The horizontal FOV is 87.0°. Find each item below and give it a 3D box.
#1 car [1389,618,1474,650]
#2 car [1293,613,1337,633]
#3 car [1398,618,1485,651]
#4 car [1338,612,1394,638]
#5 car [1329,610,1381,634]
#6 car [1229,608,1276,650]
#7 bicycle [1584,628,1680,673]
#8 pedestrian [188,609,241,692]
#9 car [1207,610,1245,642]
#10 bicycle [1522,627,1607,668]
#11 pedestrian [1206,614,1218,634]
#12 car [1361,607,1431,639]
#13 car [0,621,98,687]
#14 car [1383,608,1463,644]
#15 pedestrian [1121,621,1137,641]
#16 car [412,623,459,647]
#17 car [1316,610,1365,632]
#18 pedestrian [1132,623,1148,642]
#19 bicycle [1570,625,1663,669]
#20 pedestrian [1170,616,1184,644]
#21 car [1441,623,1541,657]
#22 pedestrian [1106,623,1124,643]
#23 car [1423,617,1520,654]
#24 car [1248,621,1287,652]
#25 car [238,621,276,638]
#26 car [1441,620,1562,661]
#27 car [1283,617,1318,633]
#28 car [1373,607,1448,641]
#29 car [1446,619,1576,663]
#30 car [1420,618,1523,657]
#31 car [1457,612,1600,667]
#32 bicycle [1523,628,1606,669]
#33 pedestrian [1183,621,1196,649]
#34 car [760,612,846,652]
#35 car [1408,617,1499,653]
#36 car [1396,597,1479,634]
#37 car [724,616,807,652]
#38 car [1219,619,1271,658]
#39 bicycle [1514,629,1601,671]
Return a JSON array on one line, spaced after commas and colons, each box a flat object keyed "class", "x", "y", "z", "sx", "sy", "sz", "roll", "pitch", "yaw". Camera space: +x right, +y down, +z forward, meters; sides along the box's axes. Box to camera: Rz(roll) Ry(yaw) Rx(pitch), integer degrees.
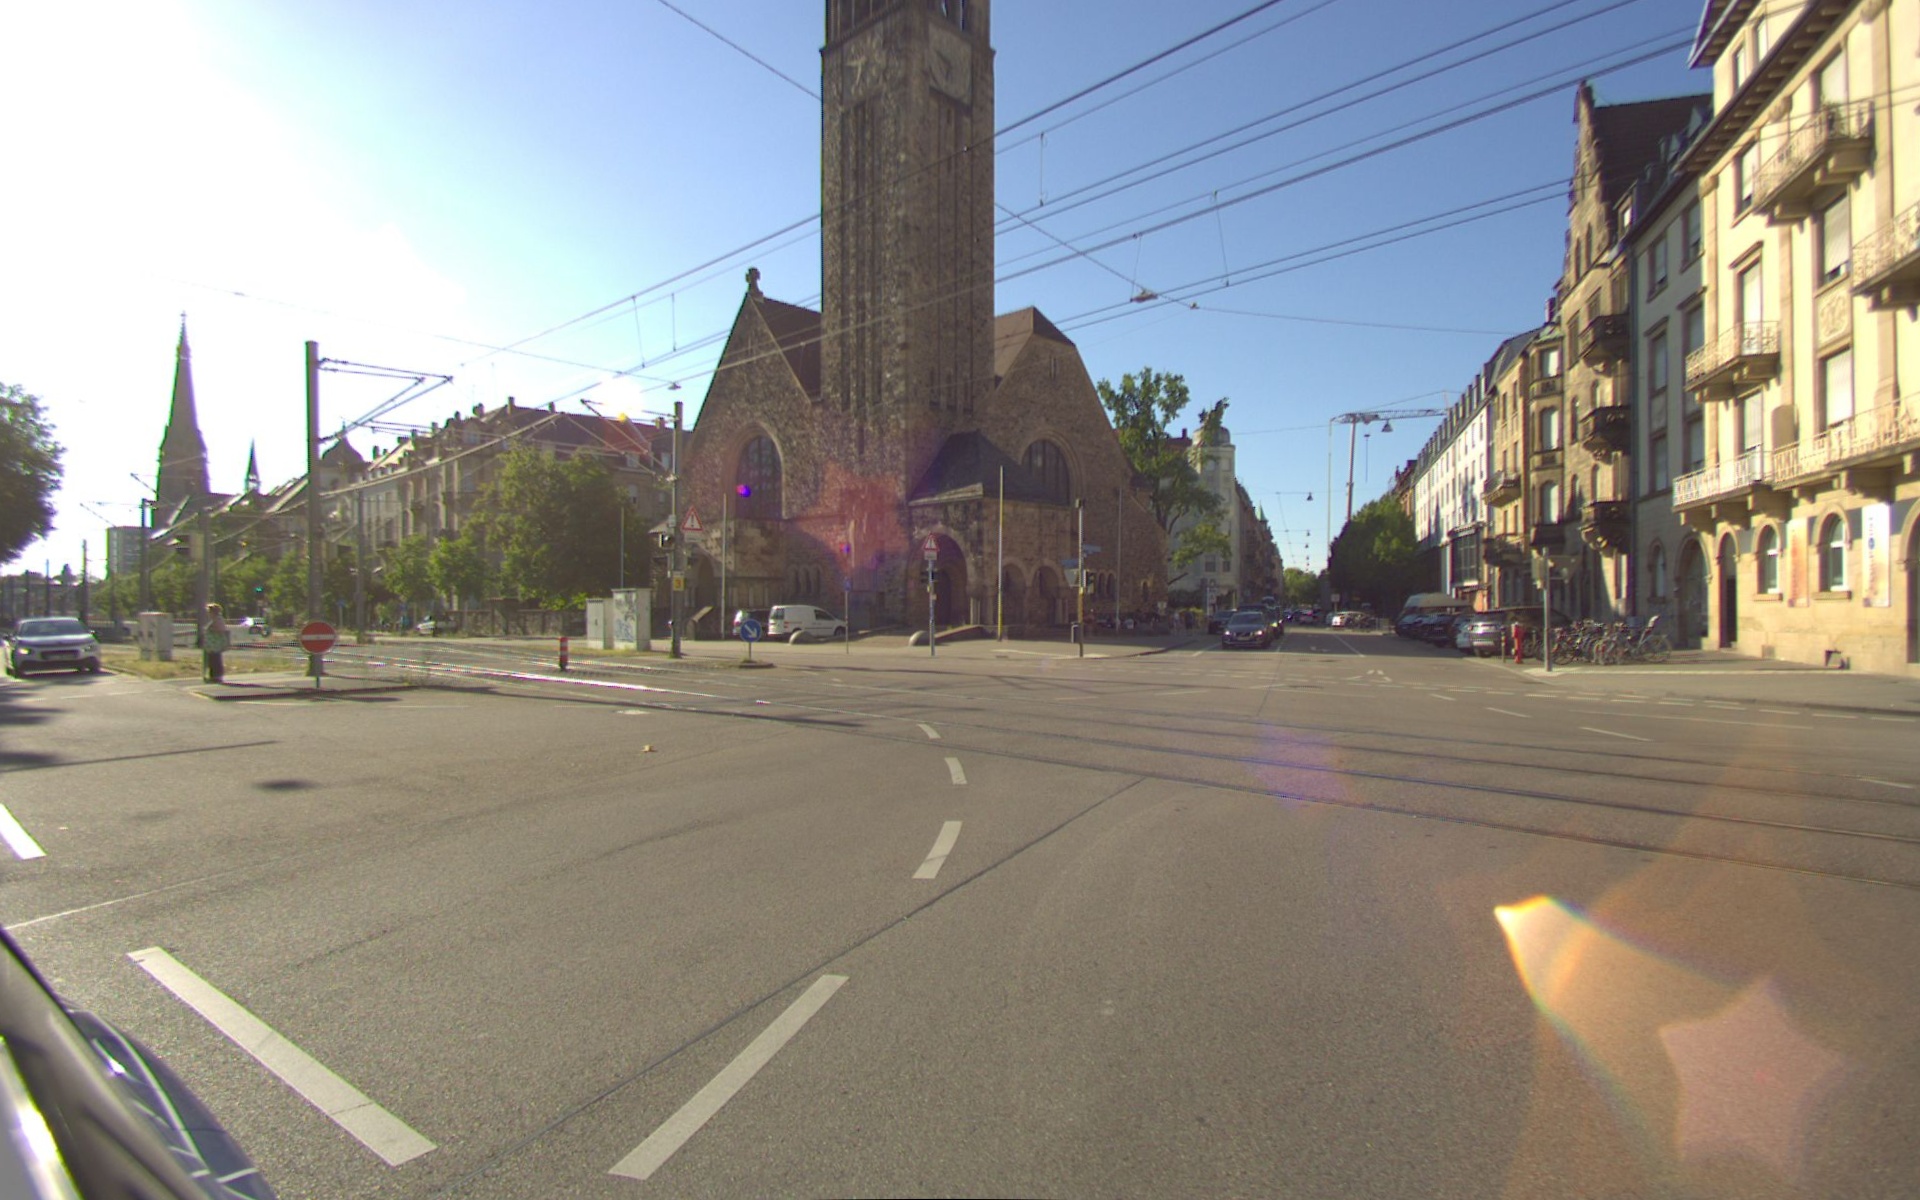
[{"class": "car", "x": 26.268, "y": 1.910, "z": 56.372, "sx": 3.932, "sy": 1.532, "sz": 1.853, "roll": -2, "pitch": -3, "yaw": -16}, {"class": "car", "x": 38.246, "y": 2.510, "z": 109.061, "sx": 3.935, "sy": 1.918, "sz": 1.790, "roll": -3, "pitch": -3, "yaw": -11}, {"class": "car", "x": 25.612, "y": 1.822, "z": 53.867, "sx": 3.931, "sy": 1.532, "sz": 1.854, "roll": -2, "pitch": -3, "yaw": -20}, {"class": "car", "x": 34.673, "y": 2.130, "z": 86.445, "sx": 3.935, "sy": 1.918, "sz": 1.790, "roll": -3, "pitch": -3, "yaw": -11}, {"class": "car", "x": 35.744, "y": 2.028, "z": 91.645, "sx": 3.935, "sy": 1.918, "sz": 1.790, "roll": -3, "pitch": -3, "yaw": -11}, {"class": "car", "x": 14.876, "y": 1.443, "z": 51.339, "sx": 1.985, "sy": 1.882, "sz": 4.460, "roll": -1, "pitch": 1, "yaw": 20}, {"class": "bicycle", "x": 18.513, "y": 1.391, "z": 27.909, "sx": 2.109, "sy": 1.199, "sz": 0.526, "roll": -1, "pitch": 1, "yaw": 18}, {"class": "pedestrian", "x": -15.308, "y": 1.020, "z": 20.775, "sx": 0.925, "sy": 1.633, "sz": 0.670, "roll": -1, "pitch": 1, "yaw": 42}, {"class": "car", "x": 17.437, "y": 1.688, "z": 66.211, "sx": 1.985, "sy": 1.882, "sz": 4.877, "roll": -1, "pitch": 1, "yaw": 20}, {"class": "bicycle", "x": 18.201, "y": 1.441, "z": 30.528, "sx": 2.109, "sy": 1.199, "sz": 0.526, "roll": -1, "pitch": 1, "yaw": 18}, {"class": "pedestrian", "x": 20.990, "y": 1.978, "z": 84.211, "sx": 0.918, "sy": 1.633, "sz": 0.850, "roll": -1, "pitch": 1, "yaw": 19}, {"class": "car", "x": 29.716, "y": 1.554, "z": 69.014, "sx": 3.935, "sy": 1.918, "sz": 1.790, "roll": -3, "pitch": -3, "yaw": -11}, {"class": "car", "x": -23.784, "y": 1.341, "z": 26.373, "sx": 4.001, "sy": 1.511, "sz": 1.614, "roll": -1, "pitch": 1, "yaw": 44}, {"class": "car", "x": 27.958, "y": 1.585, "z": 61.205, "sx": 3.935, "sy": 1.918, "sz": 1.790, "roll": -3, "pitch": -3, "yaw": -11}, {"class": "pedestrian", "x": 10.412, "y": 1.925, "z": 62.448, "sx": 0.641, "sy": 1.136, "sz": 0.702, "roll": -3, "pitch": 2, "yaw": -29}, {"class": "car", "x": -37.153, "y": 2.453, "z": 71.652, "sx": 4.216, "sy": 1.541, "sz": 1.762, "roll": 0, "pitch": 1, "yaw": 45}, {"class": "car", "x": 37.288, "y": 2.096, "z": 99.185, "sx": 3.935, "sy": 1.918, "sz": 1.790, "roll": -3, "pitch": -3, "yaw": -11}, {"class": "pedestrian", "x": 11.133, "y": 2.009, "z": 62.689, "sx": 0.641, "sy": 1.136, "sz": 0.702, "roll": -4, "pitch": 2, "yaw": -36}, {"class": "bicycle", "x": 18.546, "y": 1.324, "z": 28.638, "sx": 2.109, "sy": 1.199, "sz": 0.526, "roll": -1, "pitch": 1, "yaw": 18}, {"class": "pedestrian", "x": 13.025, "y": 1.806, "z": 60.751, "sx": 0.650, "sy": 1.633, "sz": 0.463, "roll": -1, "pitch": 2, "yaw": 33}, {"class": "car", "x": 22.518, "y": 1.712, "z": 42.908, "sx": 3.725, "sy": 1.220, "sz": 1.595, "roll": -2, "pitch": -3, "yaw": -20}, {"class": "pedestrian", "x": 9.535, "y": 2.052, "z": 62.301, "sx": 0.753, "sy": 1.136, "sz": 0.786, "roll": -3, "pitch": 2, "yaw": -20}, {"class": "car", "x": 24.510, "y": 1.718, "z": 48.535, "sx": 3.931, "sy": 1.532, "sz": 1.854, "roll": -2, "pitch": -3, "yaw": -20}, {"class": "car", "x": 17.307, "y": 2.021, "z": 56.833, "sx": 1.828, "sy": 1.514, "sz": 4.313, "roll": -1, "pitch": 1, "yaw": 20}, {"class": "car", "x": -62.814, "y": 2.653, "z": 90.415, "sx": 4.556, "sy": 1.438, "sz": 1.971, "roll": 0, "pitch": -2, "yaw": 45}, {"class": "car", "x": 21.454, "y": 1.616, "z": 40.124, "sx": 3.931, "sy": 1.366, "sz": 2.006, "roll": -2, "pitch": -3, "yaw": -20}, {"class": "car", "x": 45.145, "y": 3.323, "z": 134.272, "sx": 3.935, "sy": 1.918, "sz": 1.790, "roll": -3, "pitch": -3, "yaw": -11}, {"class": "car", "x": 28.691, "y": 1.515, "z": 64.521, "sx": 3.935, "sy": 1.918, "sz": 1.790, "roll": -3, "pitch": -3, "yaw": -11}, {"class": "car", "x": 20.225, "y": 1.506, "z": 37.155, "sx": 3.931, "sy": 1.366, "sz": 2.006, "roll": -2, "pitch": -3, "yaw": -20}, {"class": "car", "x": 23.046, "y": 1.691, "z": 45.580, "sx": 3.931, "sy": 1.532, "sz": 1.854, "roll": -2, "pitch": -3, "yaw": -20}, {"class": "car", "x": 19.160, "y": 1.338, "z": 34.136, "sx": 3.931, "sy": 1.597, "sz": 2.006, "roll": -2, "pitch": -3, "yaw": -20}, {"class": "bicycle", "x": 18.602, "y": 1.490, "z": 31.185, "sx": 2.110, "sy": 1.199, "sz": 0.525, "roll": -1, "pitch": 1, "yaw": 20}, {"class": "pedestrian", "x": 13.701, "y": 2.077, "z": 60.400, "sx": 0.651, "sy": 1.633, "sz": 0.462, "roll": -1, "pitch": 1, "yaw": 36}, {"class": "car", "x": -7.941, "y": 1.577, "z": 51.488, "sx": 1.871, "sy": 1.819, "sz": 3.969, "roll": -1, "pitch": 1, "yaw": 44}, {"class": "car", "x": 24.860, "y": 1.770, "z": 50.994, "sx": 3.931, "sy": 1.532, "sz": 1.854, "roll": -2, "pitch": -3, "yaw": -20}, {"class": "car", "x": 27.834, "y": 0.899, "z": 59.037, "sx": 3.935, "sy": 1.918, "sz": 1.790, "roll": -3, "pitch": -3, "yaw": -11}, {"class": "car", "x": -10.224, "y": 1.758, "z": 53.252, "sx": 1.769, "sy": 1.642, "sz": 3.985, "roll": -1, "pitch": 1, "yaw": 44}, {"class": "car", "x": 12.280, "y": 1.613, "z": 43.446, "sx": 1.829, "sy": 1.430, "sz": 4.258, "roll": -1, "pitch": 1, "yaw": 20}, {"class": "bicycle", "x": 17.588, "y": 1.477, "z": 29.819, "sx": 2.109, "sy": 1.199, "sz": 0.550, "roll": -1, "pitch": 1, "yaw": 18}]
